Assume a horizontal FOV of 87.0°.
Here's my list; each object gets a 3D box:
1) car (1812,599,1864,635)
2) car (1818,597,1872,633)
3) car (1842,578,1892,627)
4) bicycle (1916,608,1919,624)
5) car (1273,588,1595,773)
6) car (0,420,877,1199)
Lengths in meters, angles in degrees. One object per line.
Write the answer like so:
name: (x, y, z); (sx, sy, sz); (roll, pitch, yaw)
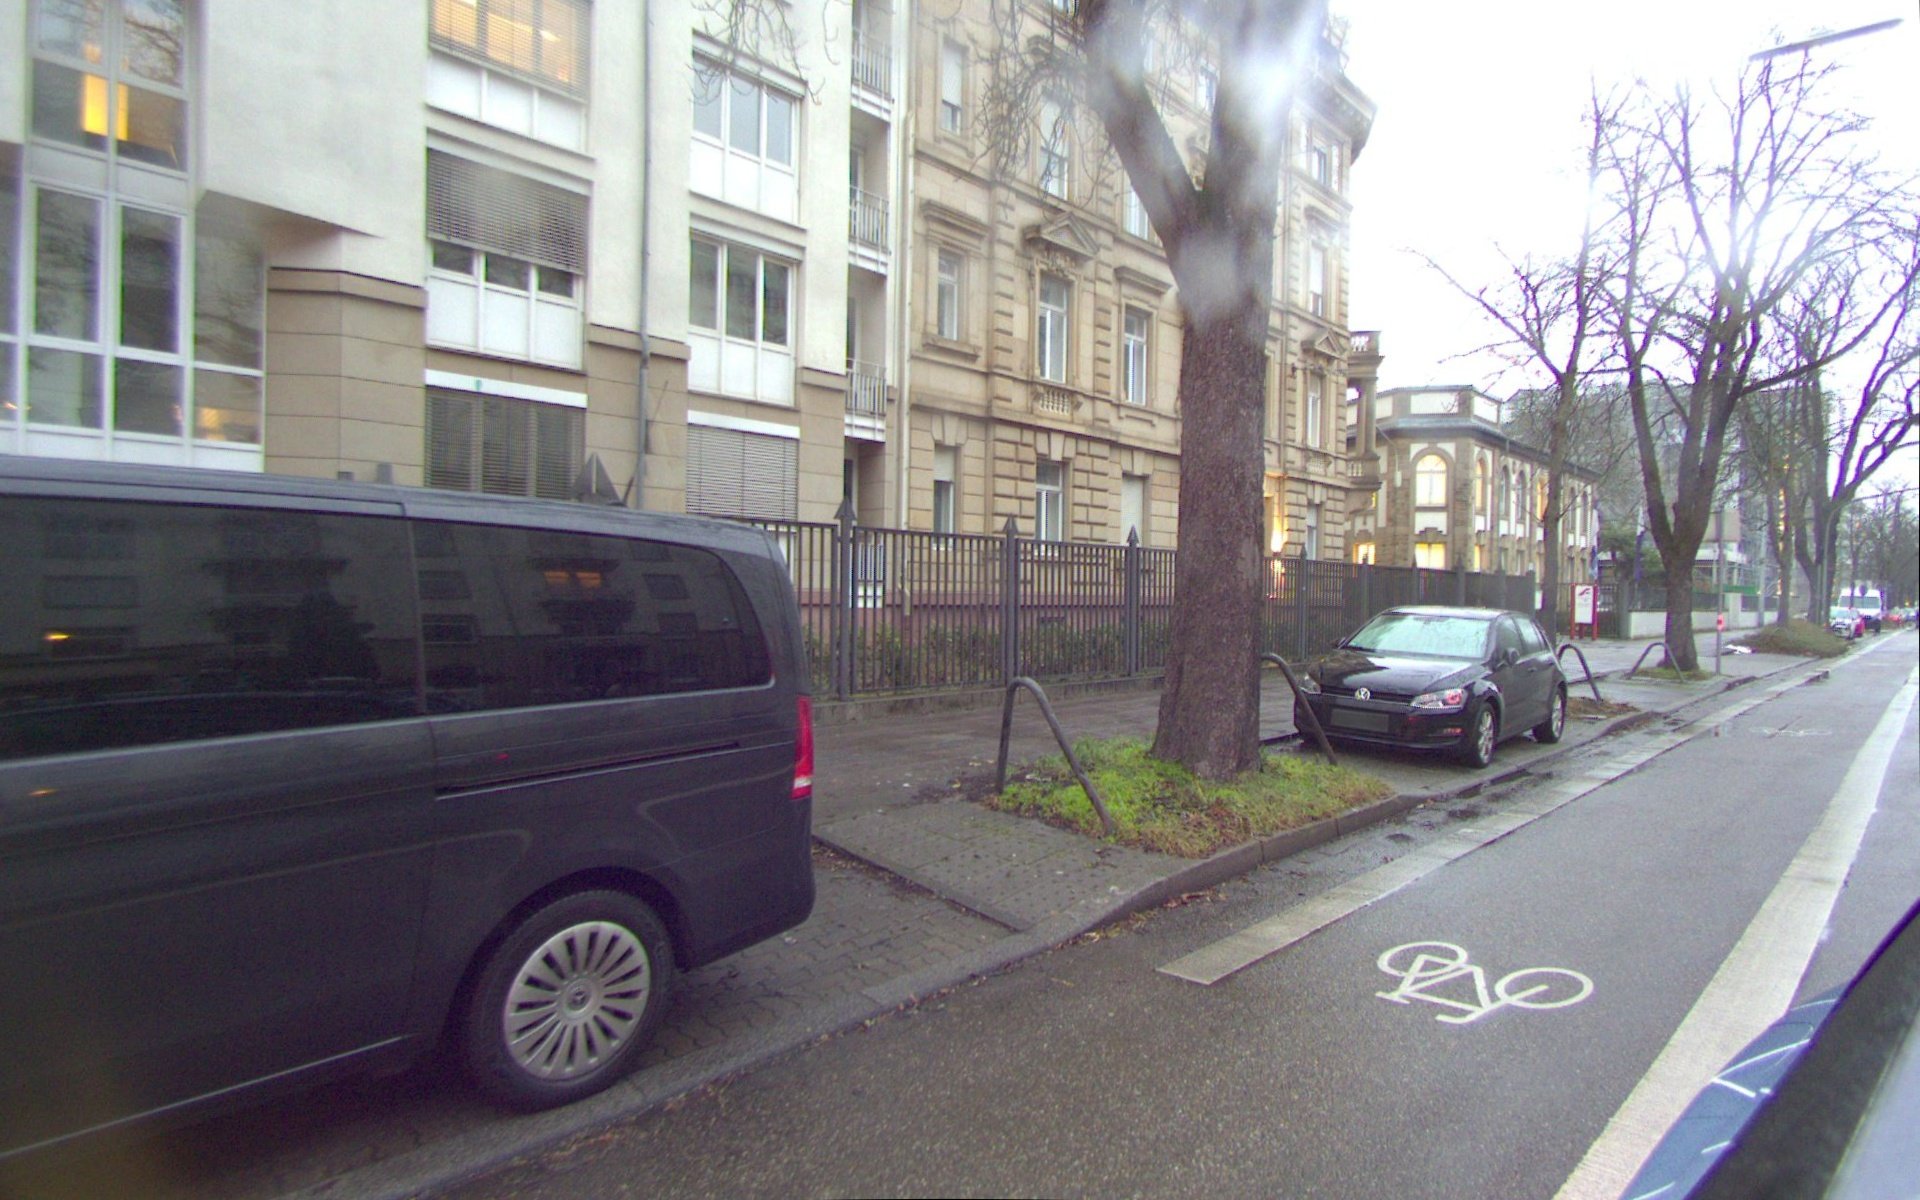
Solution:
car: (38.140, 0.707, 43.922); (1.623, 1.425, 3.939); (0, 1, 42)
car: (44.813, 0.698, 51.205); (1.992, 1.703, 3.939); (0, 1, 42)
car: (51.969, 0.108, 58.004); (2.086, 2.670, 5.367); (0, 1, 42)
bicycle: (61.186, 1.022, 63.380); (1.912, 1.004, 0.845); (1, 1, 44)
car: (5.069, 0.684, 10.545); (1.758, 1.463, 4.091); (4, 2, 44)
car: (-2.758, 0.550, 2.707); (4.882, 1.899, 2.032); (0, 2, -45)
